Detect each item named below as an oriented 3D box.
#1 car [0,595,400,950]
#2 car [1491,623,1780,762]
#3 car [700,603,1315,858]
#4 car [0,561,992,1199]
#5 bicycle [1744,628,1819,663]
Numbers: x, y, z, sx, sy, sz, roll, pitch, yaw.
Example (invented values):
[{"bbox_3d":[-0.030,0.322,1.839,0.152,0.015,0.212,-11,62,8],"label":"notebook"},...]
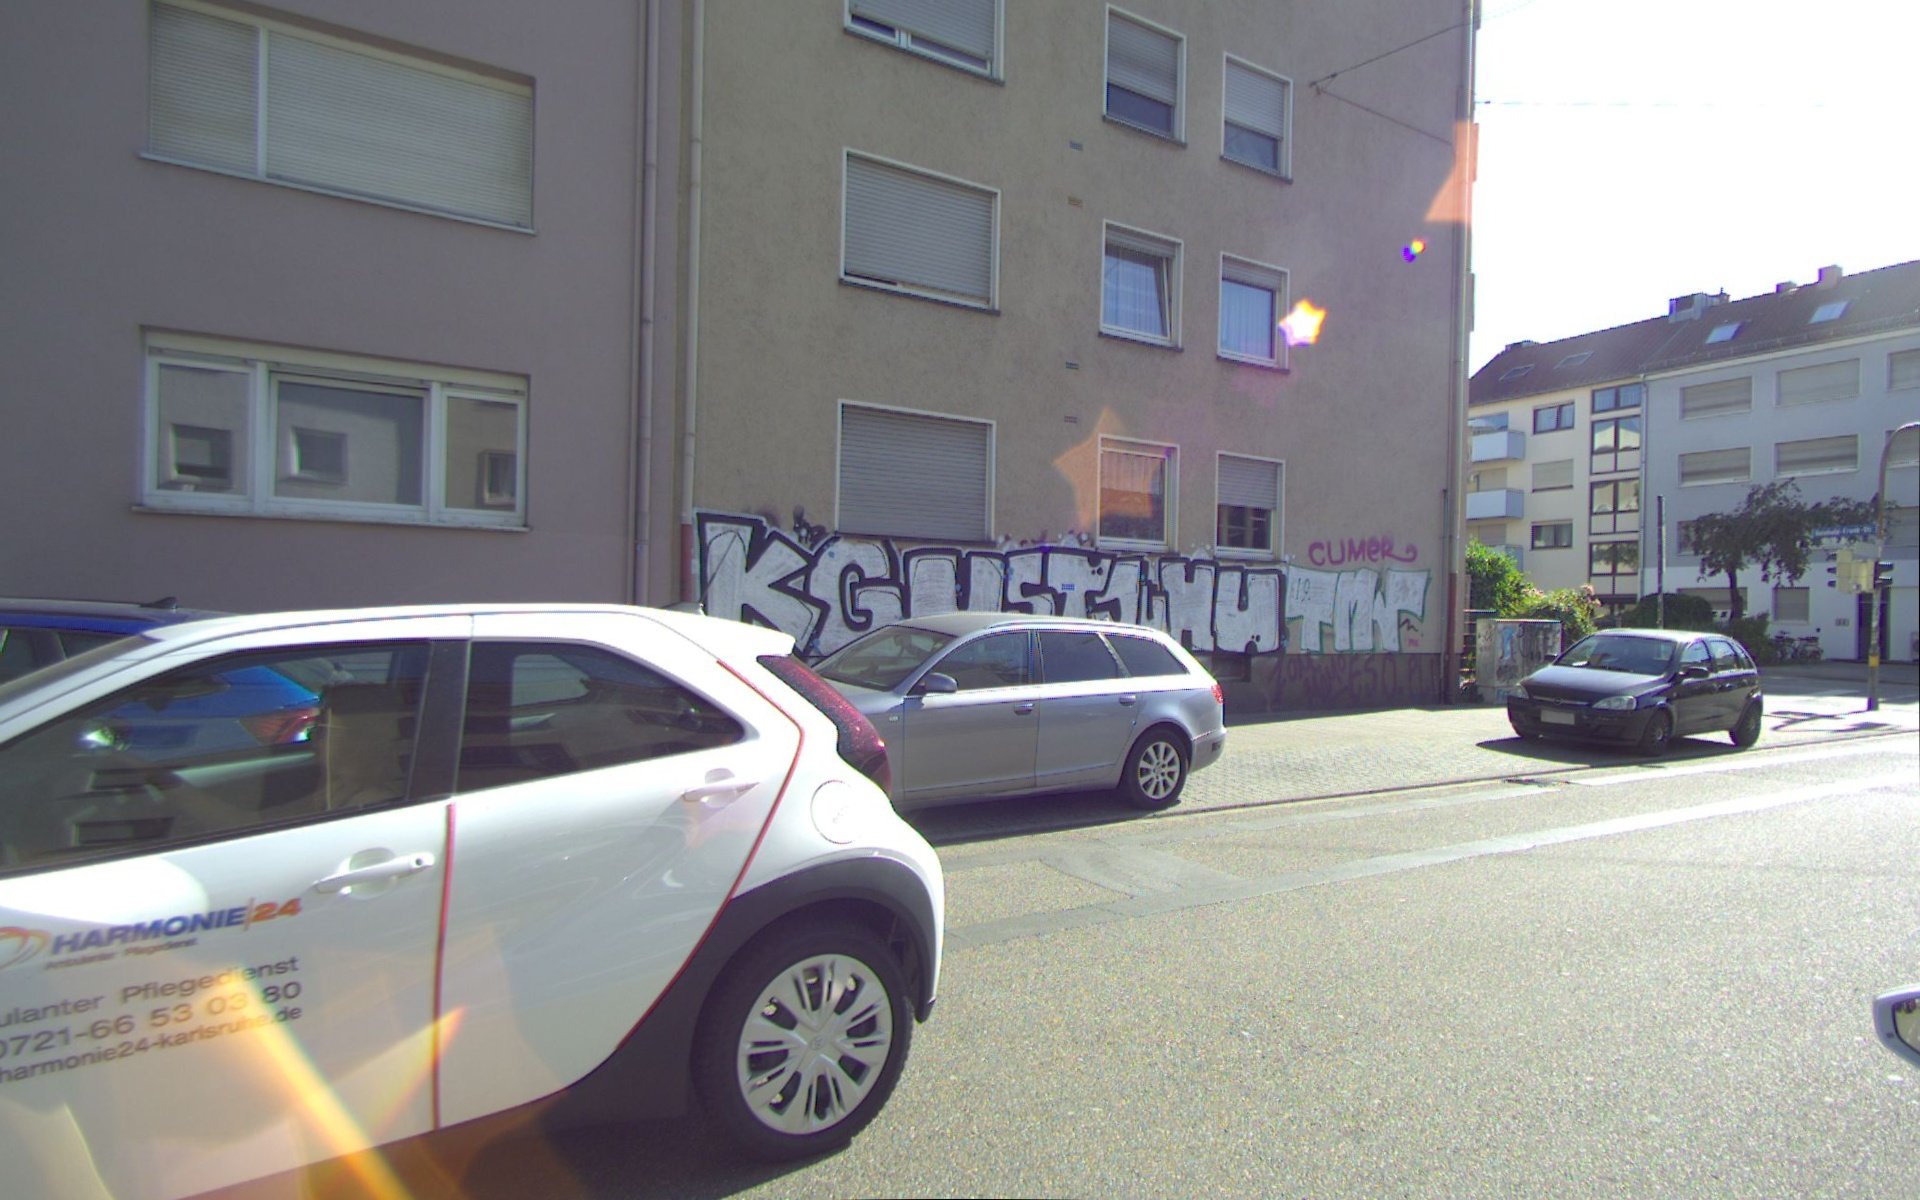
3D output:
[{"bbox_3d":[-5.231,0.731,4.669,4.559,1.485,1.709,1,1,-31],"label":"car"},{"bbox_3d":[8.648,1.087,12.813,3.667,1.444,1.608,1,2,-31],"label":"car"},{"bbox_3d":[0.523,0.844,8.059,4.759,1.485,1.708,1,2,-31],"label":"car"},{"bbox_3d":[-1.950,0.712,2.686,3.745,1.557,1.755,1,0,-33],"label":"car"},{"bbox_3d":[29.731,1.639,36.393,2.068,1.188,0.738,0,-1,37],"label":"bicycle"}]
